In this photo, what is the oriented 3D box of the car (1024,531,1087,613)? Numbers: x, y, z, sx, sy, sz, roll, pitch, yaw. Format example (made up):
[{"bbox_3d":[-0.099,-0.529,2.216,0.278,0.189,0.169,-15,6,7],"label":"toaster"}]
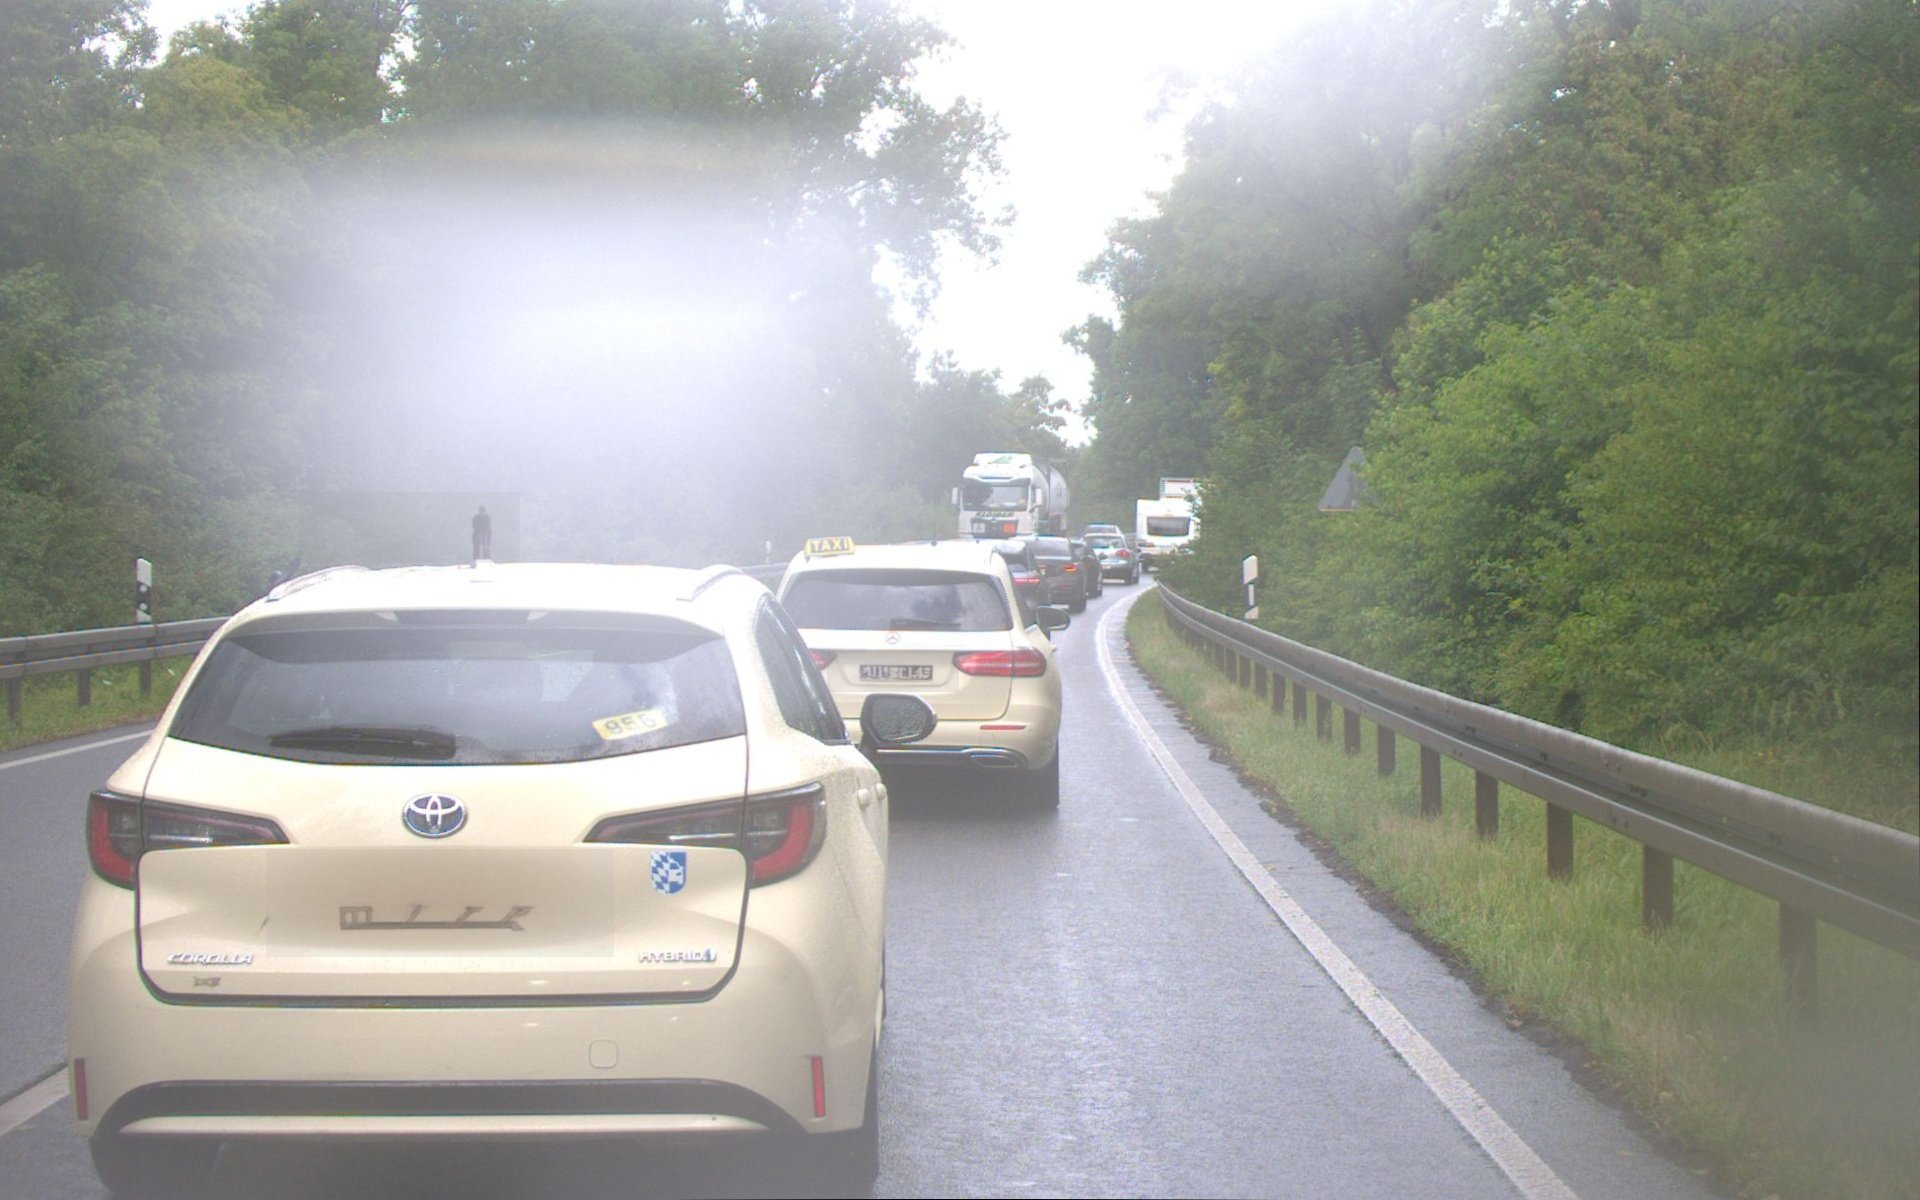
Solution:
[{"bbox_3d":[1.866,-0.539,66.466,1.167,1.541,2.604,1,0,2],"label":"car"}]

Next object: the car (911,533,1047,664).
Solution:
[{"bbox_3d":[0.234,-0.054,42.711,1.611,1.541,3.814,0,1,0],"label":"car"}]

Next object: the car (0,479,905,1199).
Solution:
[{"bbox_3d":[-1.072,0.543,8.812,1.833,1.575,4.157,1,1,-1],"label":"car"}]

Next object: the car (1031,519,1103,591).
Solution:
[{"bbox_3d":[2.476,-1.049,80.322,1.616,1.607,3.621,1,1,1],"label":"car"}]

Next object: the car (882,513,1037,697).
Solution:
[{"bbox_3d":[0.016,0.029,30.809,1.300,1.541,3.260,1,1,1],"label":"car"}]

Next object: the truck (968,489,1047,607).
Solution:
[{"bbox_3d":[1.551,-1.728,114.792,2.536,3.812,5.245,1,0,0],"label":"truck"}]

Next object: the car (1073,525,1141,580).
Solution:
[{"bbox_3d":[4.324,-1.386,100.812,1.770,1.541,3.813,1,1,5],"label":"car"}]

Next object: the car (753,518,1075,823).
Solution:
[{"bbox_3d":[-0.230,0.351,19.976,1.667,1.575,3.892,1,1,0],"label":"car"}]

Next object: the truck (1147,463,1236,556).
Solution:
[{"bbox_3d":[9.606,-3.701,141.947,3.108,3.668,6.998,1,1,8],"label":"truck"}]

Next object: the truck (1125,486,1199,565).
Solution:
[{"bbox_3d":[7.217,-2.628,123.465,2.550,2.704,7.534,1,1,3],"label":"truck"}]
